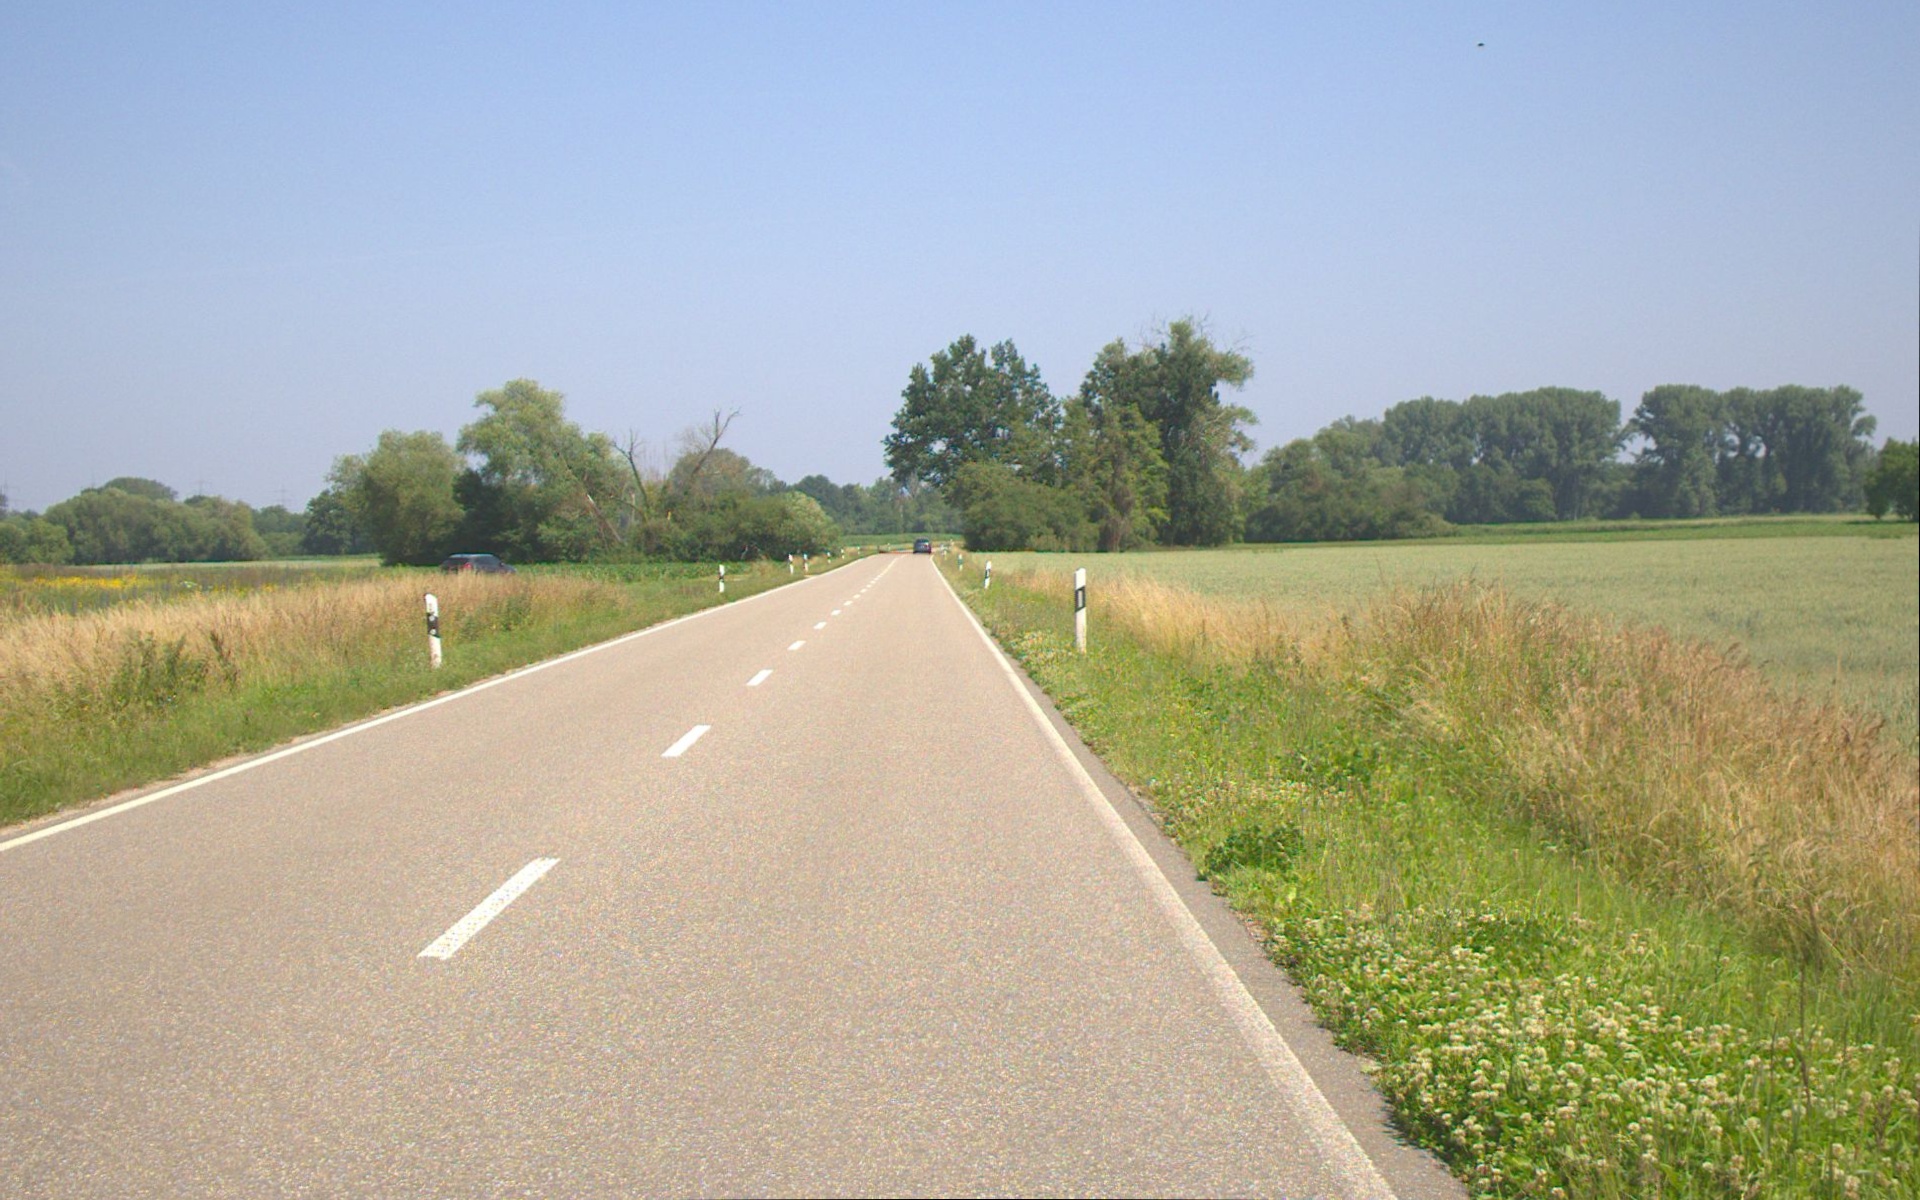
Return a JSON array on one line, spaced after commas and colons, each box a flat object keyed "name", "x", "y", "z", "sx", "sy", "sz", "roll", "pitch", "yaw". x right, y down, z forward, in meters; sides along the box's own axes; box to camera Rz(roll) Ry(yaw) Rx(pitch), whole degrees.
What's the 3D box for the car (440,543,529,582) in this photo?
[{"name": "car", "x": -21.338, "y": -1.689, "z": 154.454, "sx": 1.755, "sy": 1.645, "sz": 4.523, "roll": -1, "pitch": 1, "yaw": 25}]
